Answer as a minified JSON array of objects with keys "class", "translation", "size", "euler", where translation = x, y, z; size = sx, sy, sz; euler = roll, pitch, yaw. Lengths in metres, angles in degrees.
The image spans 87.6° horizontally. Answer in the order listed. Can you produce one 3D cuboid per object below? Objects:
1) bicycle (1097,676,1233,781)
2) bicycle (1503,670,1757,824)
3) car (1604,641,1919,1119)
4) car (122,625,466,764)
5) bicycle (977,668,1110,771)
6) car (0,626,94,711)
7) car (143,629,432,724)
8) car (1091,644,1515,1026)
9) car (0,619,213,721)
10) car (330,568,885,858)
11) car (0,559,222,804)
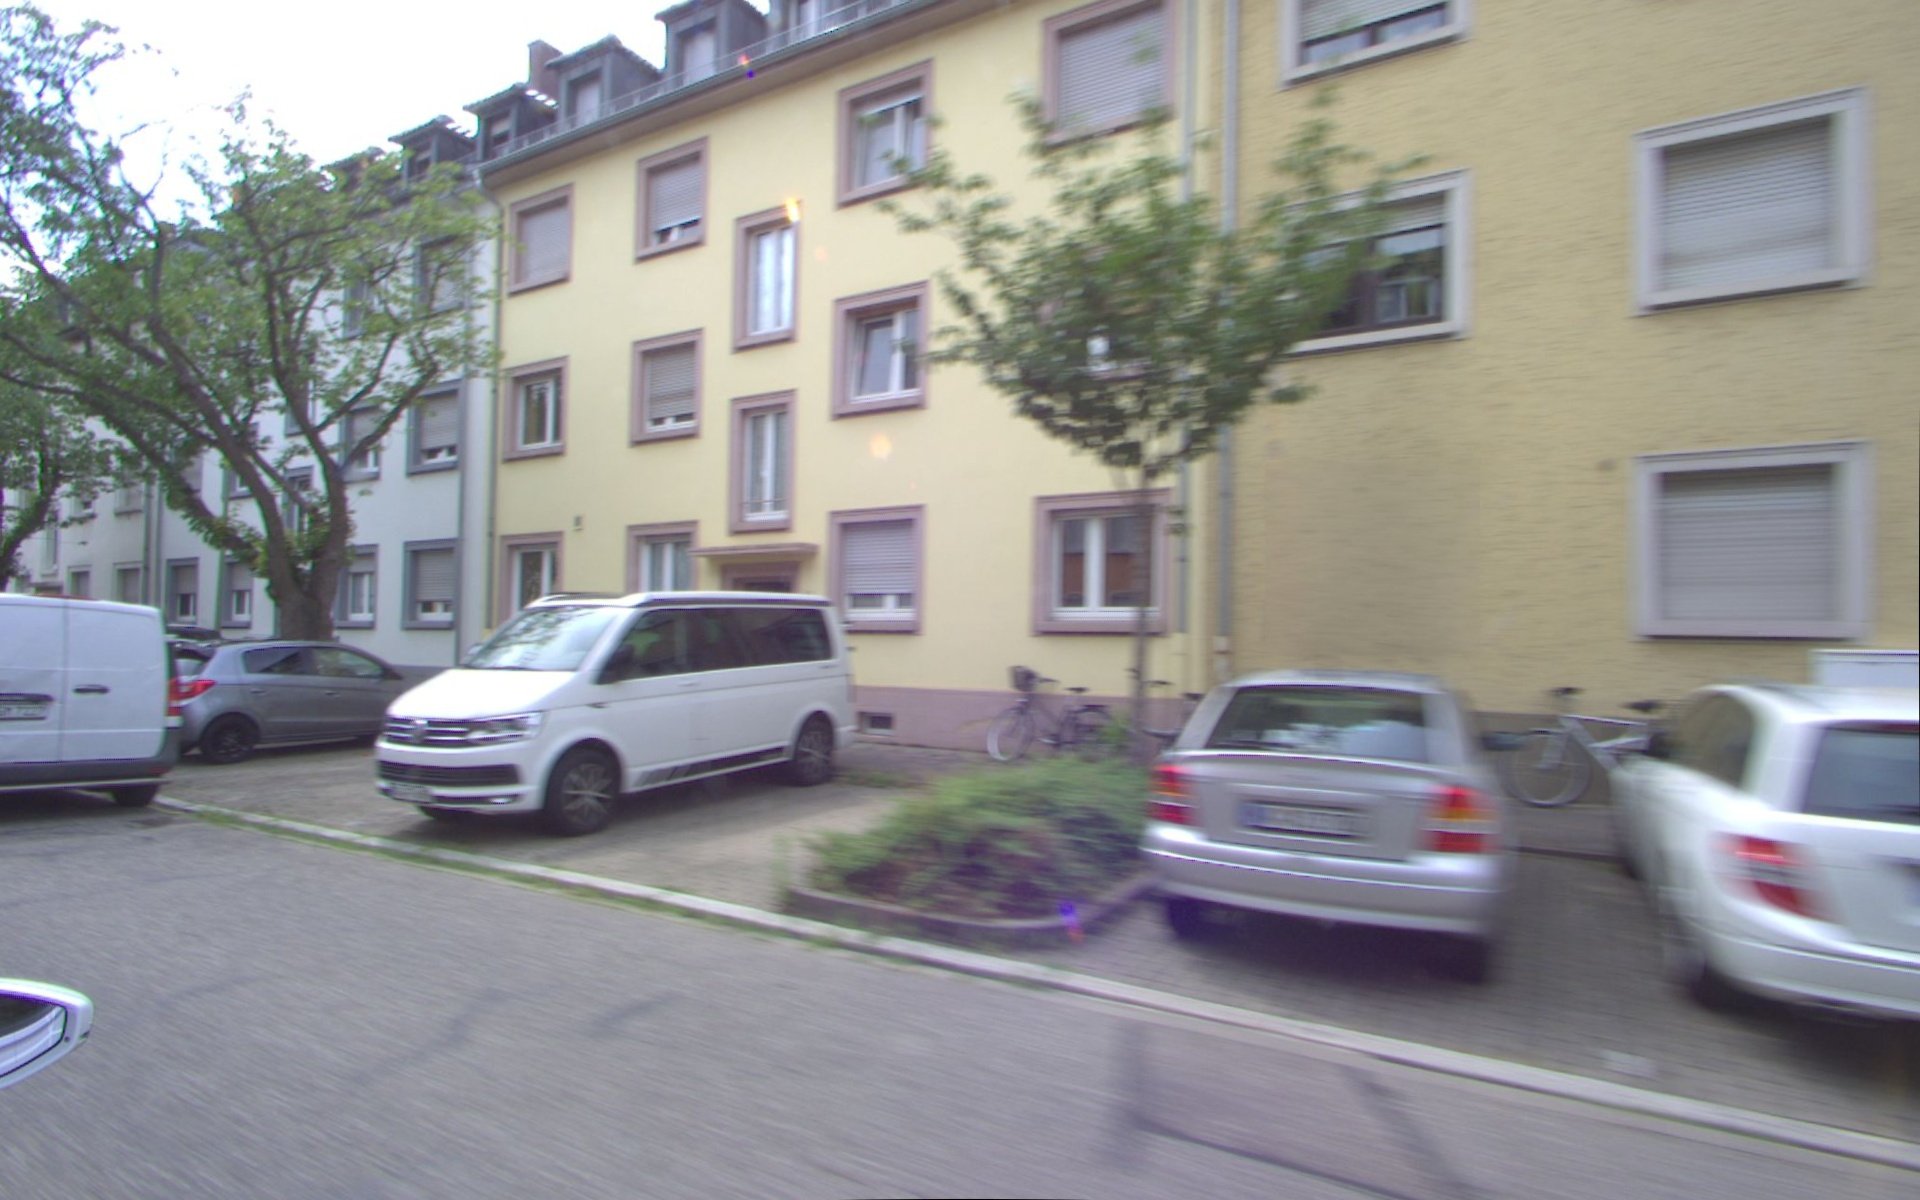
[{"class":"bicycle","translation":[2.306,1.425,11.320],"size":[1.432,1.065,0.450],"euler":[-1,-1,30]},{"class":"bicycle","translation":[5.959,1.275,9.038],"size":[1.847,1.215,0.585],"euler":[-1,-1,30]},{"class":"car","translation":[4.632,1.031,5.230],"size":[1.822,1.529,4.543],"euler":[-1,-1,29]},{"class":"car","translation":[-8.828,1.143,13.542],"size":[1.787,1.594,3.474],"euler":[-1,-1,30]},{"class":"bicycle","translation":[0.993,1.408,12.051],"size":[1.546,1.120,0.450],"euler":[-1,-1,30]},{"class":"car","translation":[-17.663,1.187,17.144],"size":[1.740,1.474,3.982],"euler":[-1,-1,30]},{"class":"car","translation":[-11.756,1.258,17.794],"size":[1.614,1.438,3.982],"euler":[-1,-1,30]},{"class":"car","translation":[2.428,1.045,6.277],"size":[1.822,1.433,4.089],"euler":[-1,-1,29]},{"class":"car","translation":[-15.038,1.104,16.590],"size":[1.614,1.556,3.982],"euler":[-1,-1,30]},{"class":"car","translation":[-2.965,0.858,9.881],"size":[2.041,2.049,5.227],"euler":[-1,-1,27]},{"class":"car","translation":[-9.374,0.718,9.521],"size":[4.633,1.937,1.994],"euler":[-1,-5,30]}]
